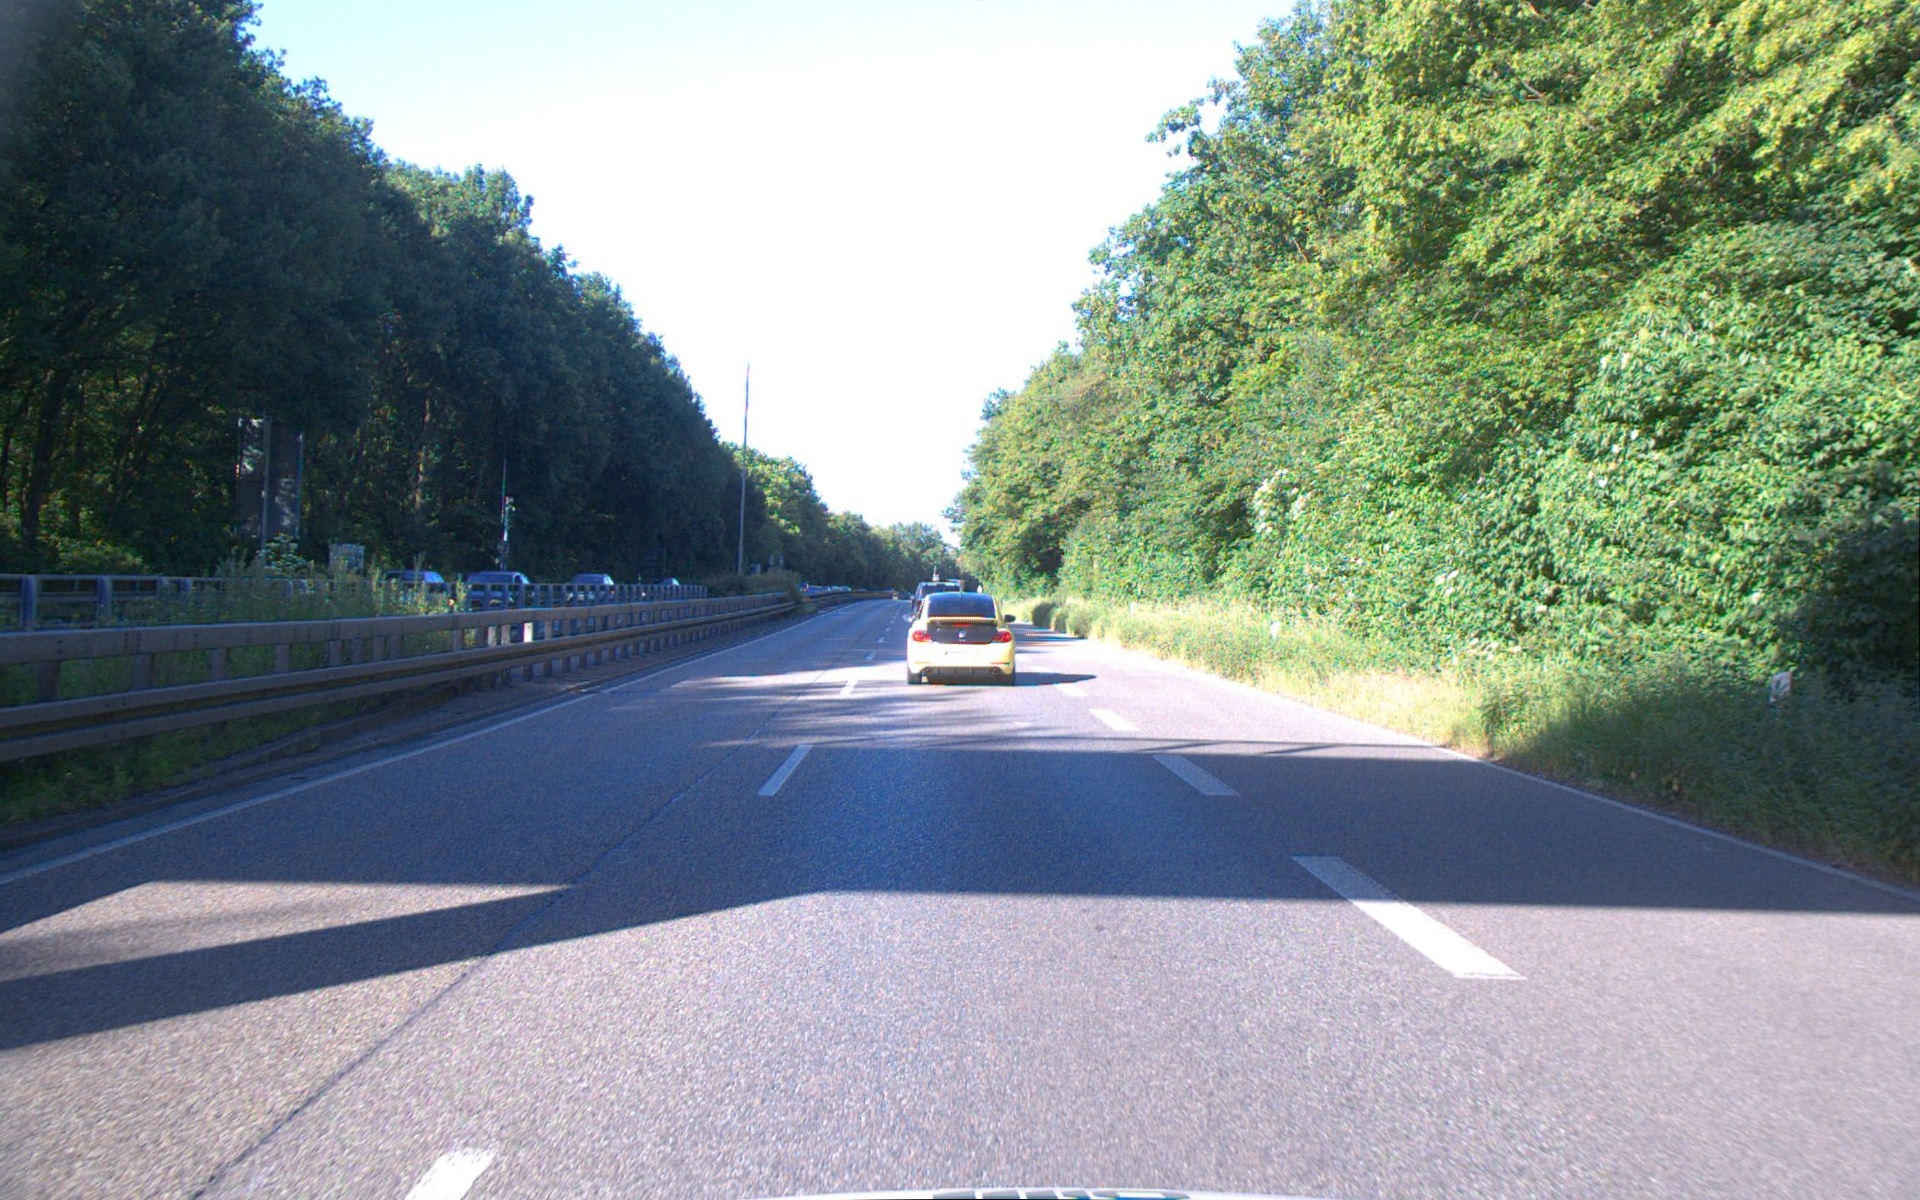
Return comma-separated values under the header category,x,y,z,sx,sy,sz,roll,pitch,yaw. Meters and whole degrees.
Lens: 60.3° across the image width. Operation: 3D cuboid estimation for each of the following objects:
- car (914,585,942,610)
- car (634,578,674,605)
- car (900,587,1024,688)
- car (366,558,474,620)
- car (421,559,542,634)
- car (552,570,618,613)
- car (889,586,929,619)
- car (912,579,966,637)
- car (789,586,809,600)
category,x,y,z,sx,sy,sz,roll,pitch,yaw
car,-2.425,-0.167,124.562,1.953,1.780,4.371,1,0,-2
car,-18.727,-0.531,101.360,1.695,1.515,4.452,2,0,-1
car,0.089,0.584,27.526,1.899,1.534,3.423,1,0,2
car,-16.462,-0.328,50.641,1.953,1.780,4.342,1,0,-1
car,-11.988,-0.095,41.706,1.858,1.746,4.110,2,0,-1
car,-16.448,-0.355,72.666,1.953,1.780,4.371,1,0,-1
car,-2.517,0.106,81.919,1.900,1.572,3.421,1,0,-2
car,-0.732,0.260,55.992,1.706,1.862,3.421,2,0,-2
car,-18.499,-0.789,189.851,1.953,1.628,4.706,1,0,-2
